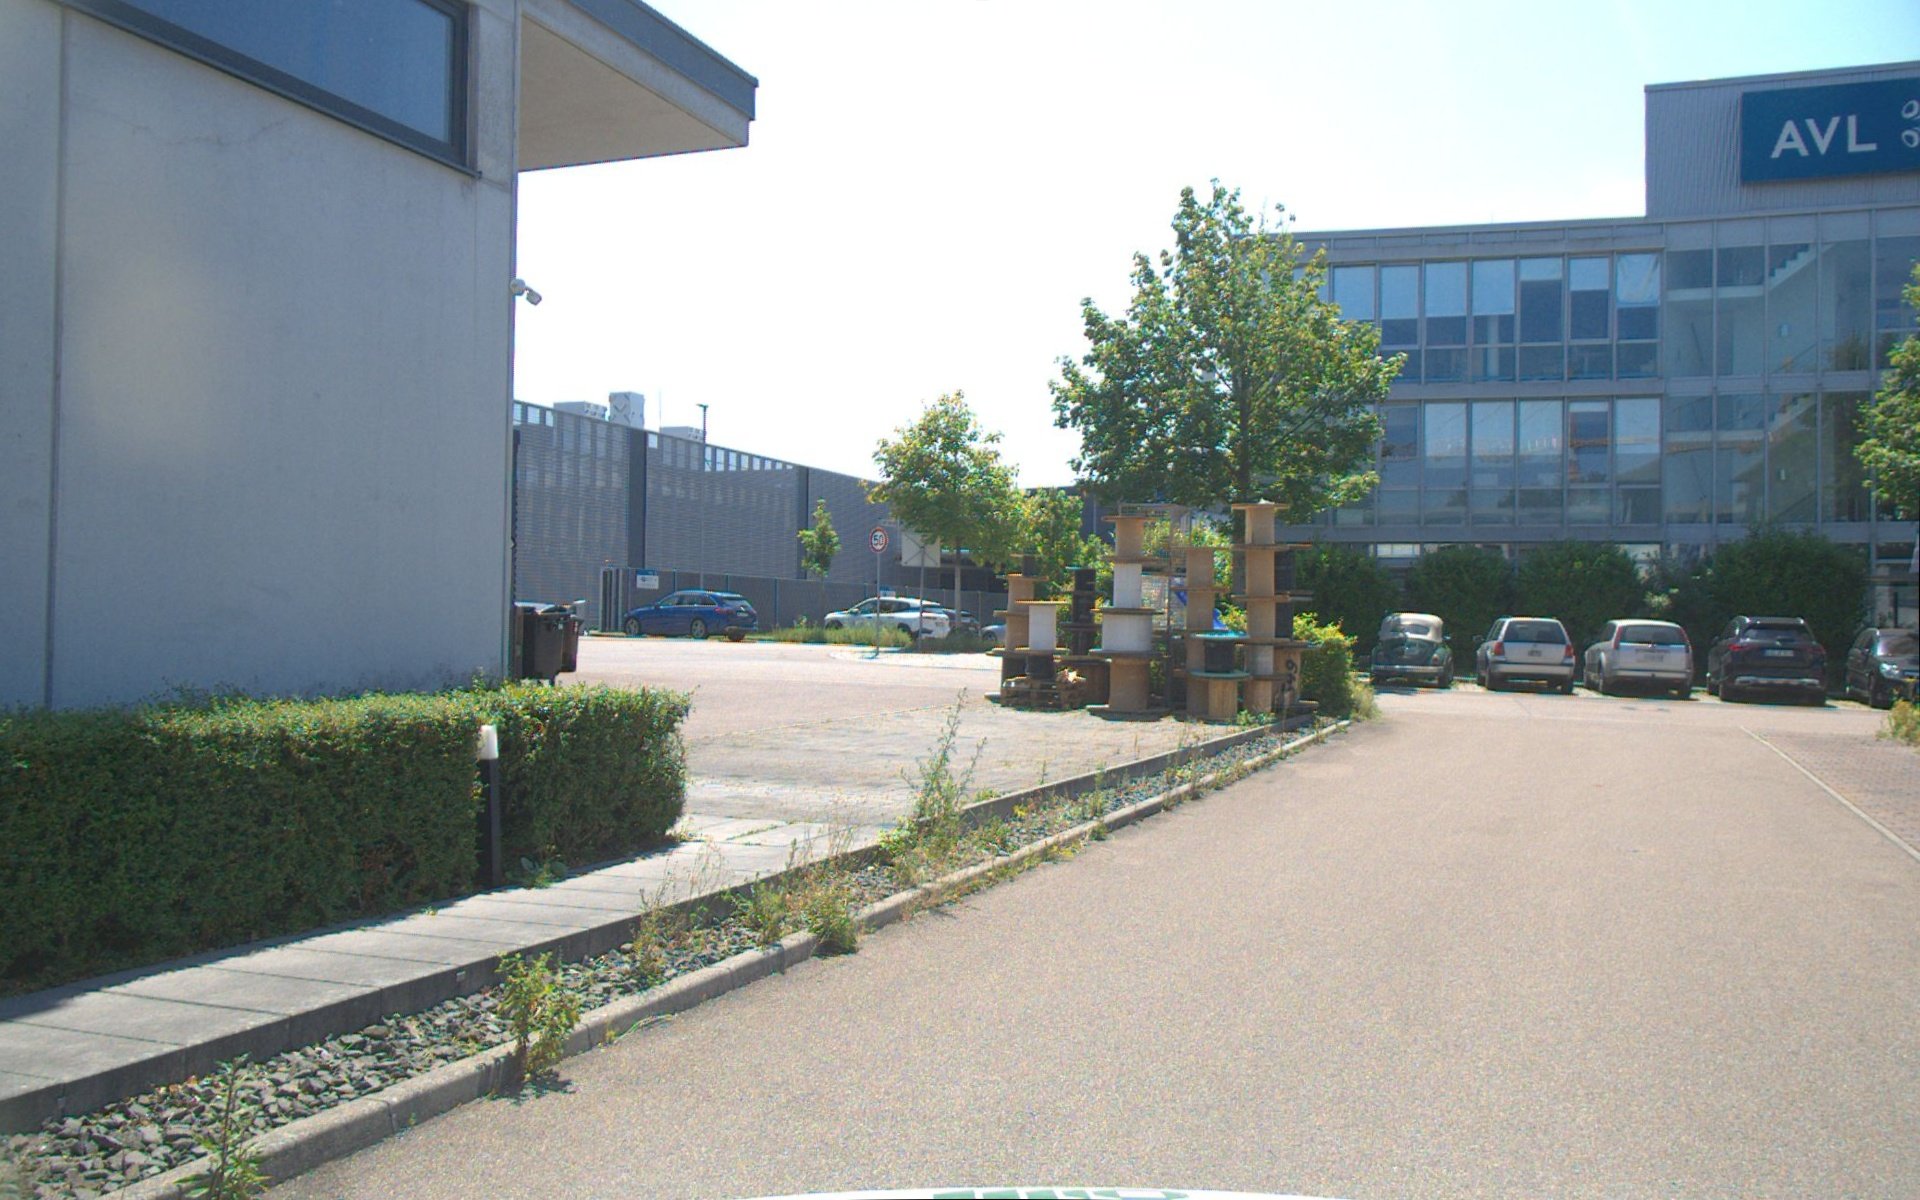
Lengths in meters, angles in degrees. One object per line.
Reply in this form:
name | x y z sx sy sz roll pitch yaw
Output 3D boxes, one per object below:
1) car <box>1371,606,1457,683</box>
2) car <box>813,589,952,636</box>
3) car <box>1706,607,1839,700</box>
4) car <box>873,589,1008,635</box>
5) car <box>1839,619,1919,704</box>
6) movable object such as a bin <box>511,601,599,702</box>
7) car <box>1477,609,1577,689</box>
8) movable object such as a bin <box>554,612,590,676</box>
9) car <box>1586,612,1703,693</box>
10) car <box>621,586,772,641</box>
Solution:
car | 9.608 0.895 34.873 1.509 1.474 3.655 2 1 19
car | -2.784 0.420 58.931 4.756 1.517 1.993 2 1 35
car | 16.158 1.008 33.071 1.887 1.639 3.987 2 1 19
car | -0.755 0.423 61.226 4.756 1.517 1.993 2 1 35
car | 18.497 1.160 32.293 1.733 1.508 4.260 1 0 19
movable object such as a bin | -5.615 0.704 22.944 0.795 1.368 0.883 0 -1 27
car | 11.714 0.964 34.348 1.695 1.474 3.656 2 1 15
movable object such as a bin | -6.507 0.738 27.735 0.566 1.054 0.424 1 -1 -12
car | 14.018 1.024 34.040 1.728 1.474 3.656 2 1 15
car | -8.089 0.388 50.633 4.423 1.517 1.993 2 1 35
